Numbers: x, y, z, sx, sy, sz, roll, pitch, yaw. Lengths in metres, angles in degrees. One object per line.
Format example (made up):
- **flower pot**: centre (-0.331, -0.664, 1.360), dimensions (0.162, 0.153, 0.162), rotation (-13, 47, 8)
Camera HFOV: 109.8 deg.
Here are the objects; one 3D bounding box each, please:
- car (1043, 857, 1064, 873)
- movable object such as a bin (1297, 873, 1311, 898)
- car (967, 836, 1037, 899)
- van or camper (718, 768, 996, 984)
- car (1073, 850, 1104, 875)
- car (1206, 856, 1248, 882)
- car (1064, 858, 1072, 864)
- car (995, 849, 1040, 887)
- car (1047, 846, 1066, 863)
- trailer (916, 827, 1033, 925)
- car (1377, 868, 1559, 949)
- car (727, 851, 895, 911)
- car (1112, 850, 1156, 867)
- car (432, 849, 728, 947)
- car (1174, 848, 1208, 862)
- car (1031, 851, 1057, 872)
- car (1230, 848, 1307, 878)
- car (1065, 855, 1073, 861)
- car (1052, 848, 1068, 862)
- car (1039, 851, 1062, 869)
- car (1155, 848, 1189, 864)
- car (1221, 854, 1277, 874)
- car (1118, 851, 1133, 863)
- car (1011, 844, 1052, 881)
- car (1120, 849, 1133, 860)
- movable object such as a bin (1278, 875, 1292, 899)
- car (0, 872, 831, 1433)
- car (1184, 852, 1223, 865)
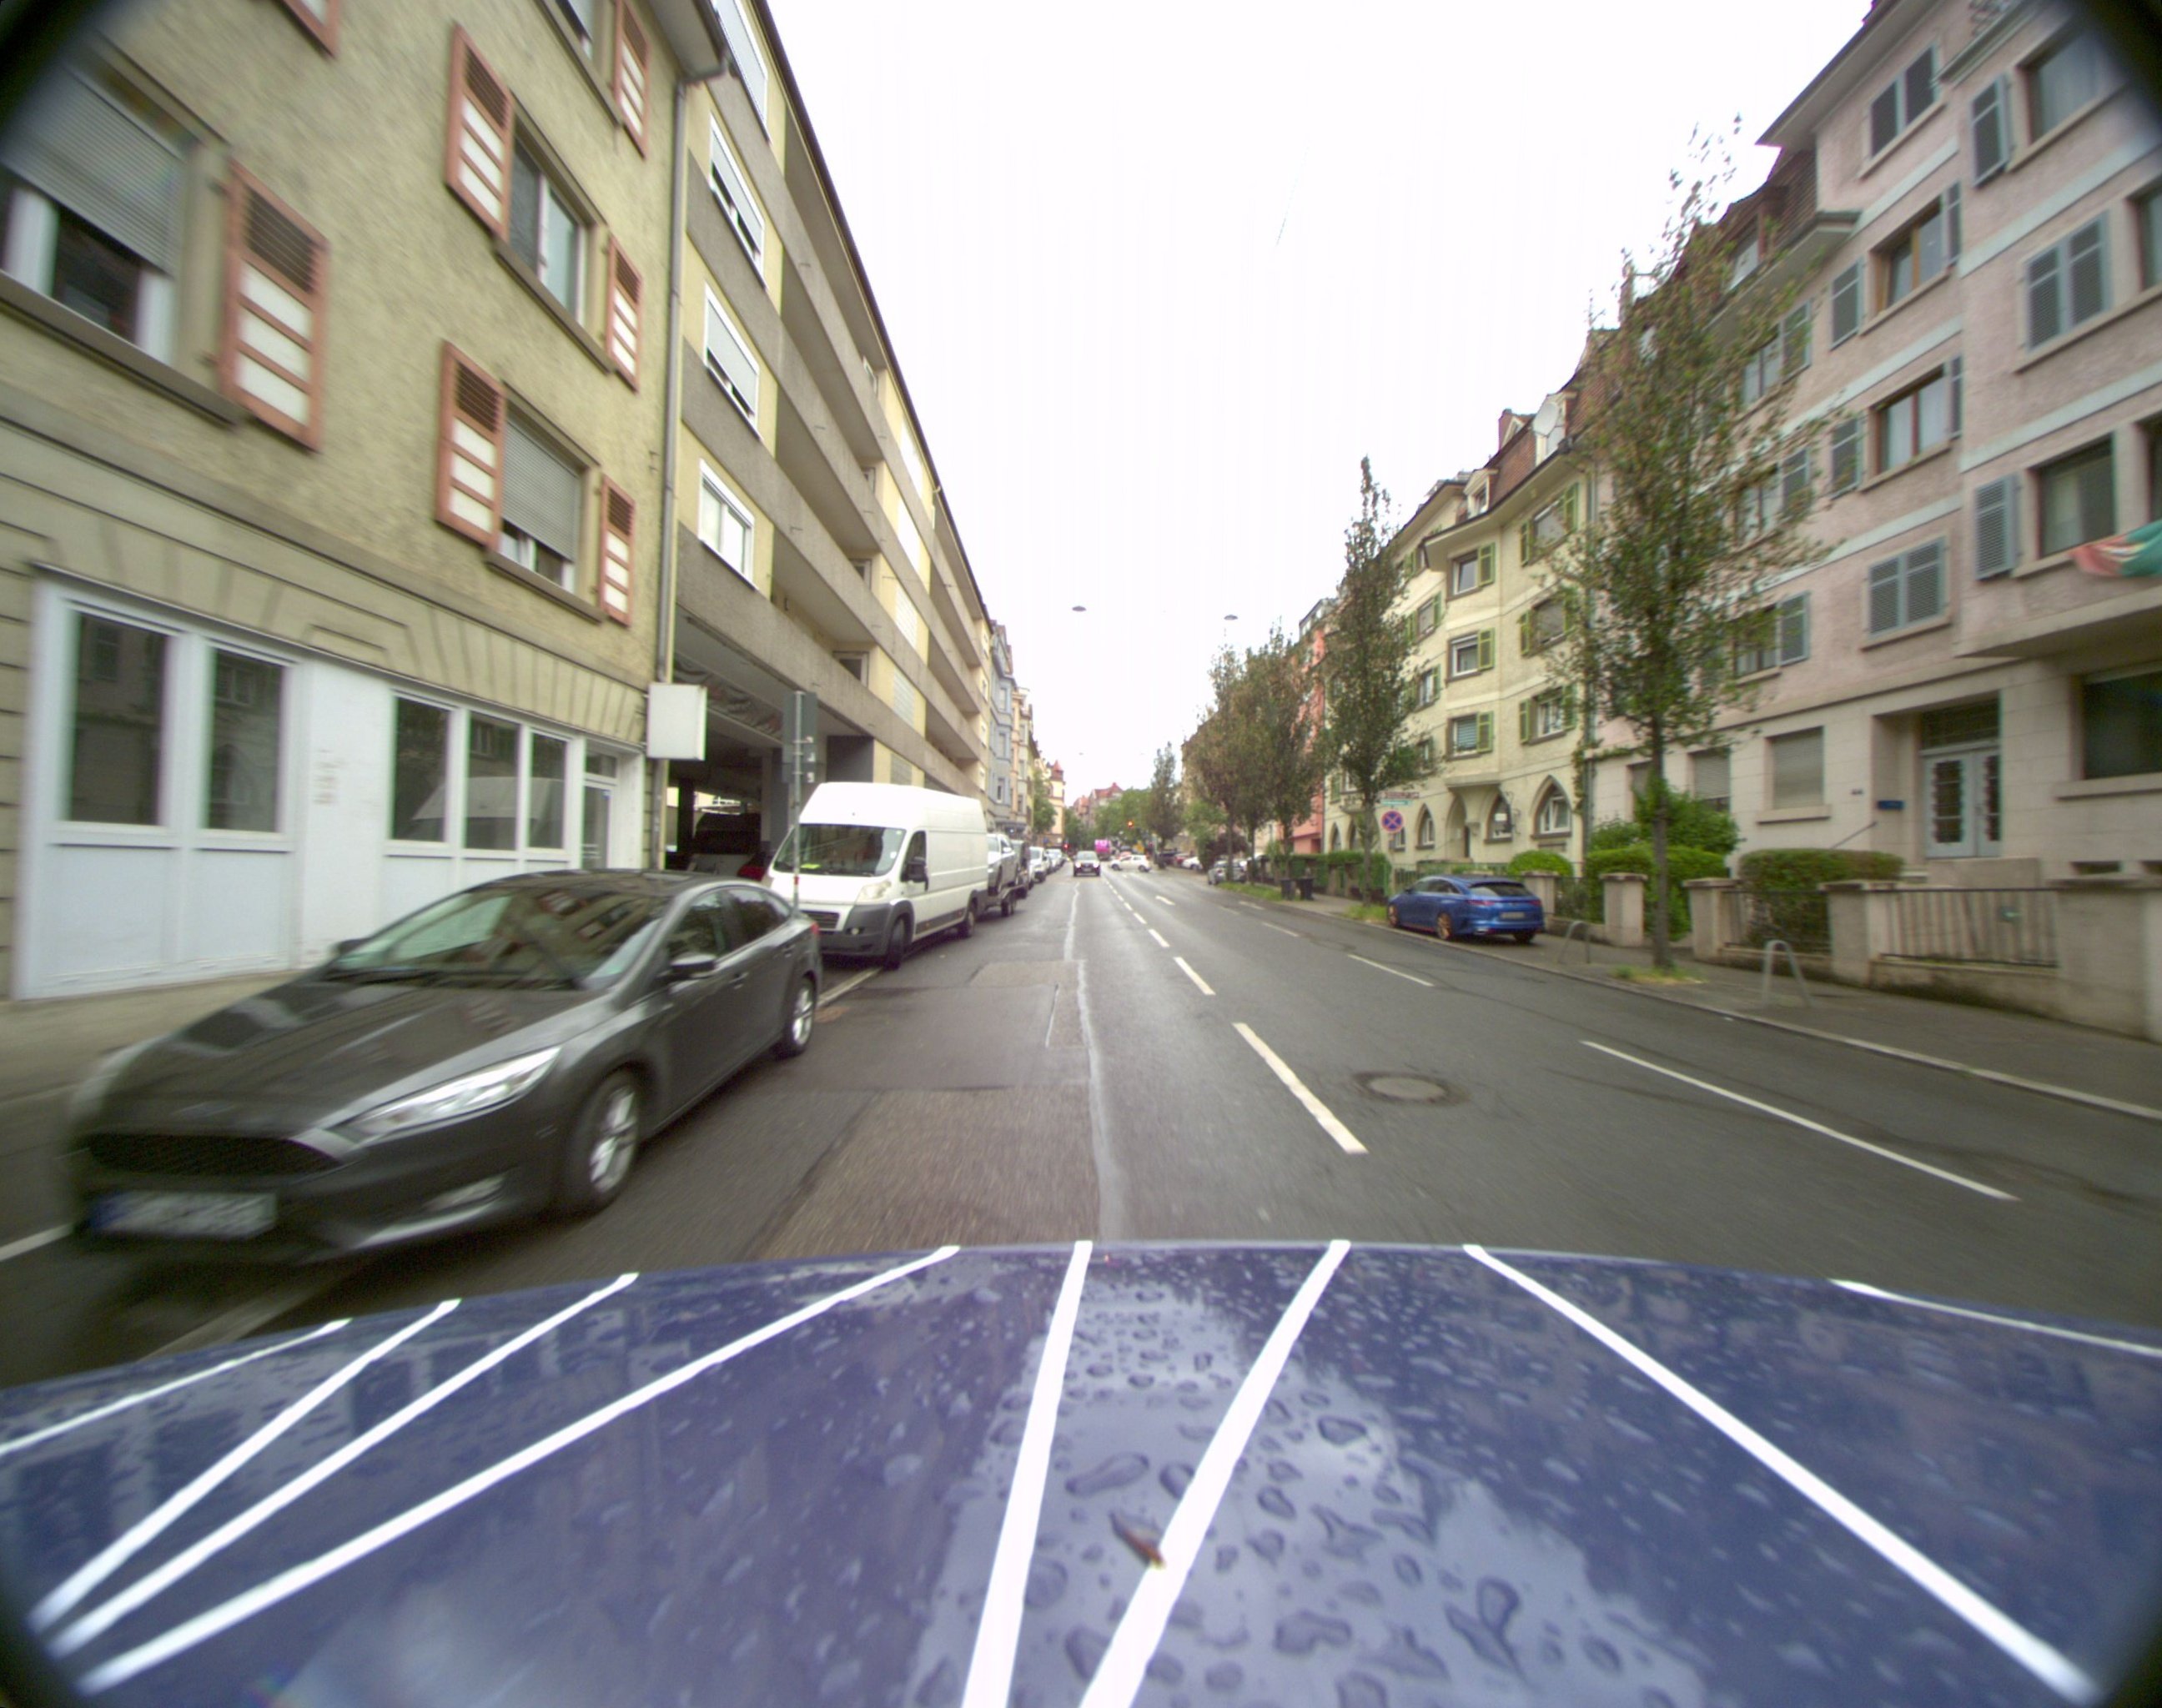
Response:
- **car**: centre (-2.556, 1.007, 71.415), dimensions (1.709, 1.389, 3.932), rotation (-2, 1, 0)
- **movable object such as a bin**: centre (8.715, 1.225, 29.674), dimensions (0.365, 0.906, 0.572), rotation (-1, 2, -1)
- **car**: centre (-2.935, 0.438, 29.438), dimensions (2.159, 2.136, 5.509), rotation (2, 1, -1)
- **van or camper**: centre (-3.219, 0.265, 12.822), dimensions (2.189, 2.684, 6.422), rotation (1, 0, 6)
- **car**: centre (0.481, 0.525, 52.732), dimensions (1.890, 1.543, 3.998), rotation (-2, 1, -2)
- **car**: centre (8.742, 0.861, 45.721), dimensions (1.685, 1.409, 4.137), rotation (2, 1, 0)
- **car**: centre (-2.829, 1.563, 169.131), dimensions (1.553, 1.386, 3.745), rotation (2, 1, 0)
- **car**: centre (-2.933, 0.629, 36.010), dimensions (1.751, 1.630, 4.272), rotation (2, 1, -1)
- **car**: centre (-2.624, 0.019, 82.866), dimensions (1.826, 1.808, 4.519), rotation (2, 1, 0)
- **trailer**: centre (-2.594, 0.532, 19.876), dimensions (1.998, 2.139, 5.073), rotation (3, 0, 3)
- **car**: centre (8.385, 1.098, 17.001), dimensions (1.683, 1.378, 4.601), rotation (1, 1, 0)
- **car**: centre (-7.323, 0.712, 20.860), dimensions (3.996, 1.383, 1.558), rotation (3, 1, 1)
- **car**: centre (4.847, 0.376, 69.103), dimensions (3.644, 1.464, 1.673), rotation (0, 2, 23)
- **car**: centre (-8.283, 0.715, 12.894), dimensions (3.662, 1.383, 1.898), rotation (3, -1, -5)
- **car**: centre (13.355, 0.083, 92.355), dimensions (3.929, 1.613, 1.592), rotation (1, 1, 1)
- **car**: centre (-2.840, 0.562, 58.563), dimensions (1.731, 1.434, 4.358), rotation (2, 1, 0)
- **car**: centre (12.615, 0.593, 51.278), dimensions (4.731, 1.894, 1.918), rotation (0, 2, -2)
- **car**: centre (-2.698, 0.859, 170.060), dimensions (1.553, 1.386, 3.745), rotation (2, 1, 0)
- **car**: centre (-2.397, 0.107, 88.032), dimensions (1.627, 1.498, 3.745), rotation (2, 1, 0)
- **car**: centre (-2.564, 0.468, 64.485), dimensions (1.709, 1.434, 3.932), rotation (2, 1, 0)
- **car**: centre (11.358, 0.209, 95.297), dimensions (3.930, 1.836, 1.866), rotation (1, 1, -2)
- **car**: centre (13.176, 0.762, 59.660), dimensions (3.931, 1.389, 1.724), rotation (1, 1, -6)
- **car**: centre (6.031, 0.452, 103.611), dimensions (1.772, 1.540, 3.652), rotation (0, 1, 0)
- **car**: centre (-2.783, 0.434, 44.043), dimensions (1.994, 1.944, 4.822), rotation (2, 1, 0)
- **car**: centre (6.032, 0.038, 100.341), dimensions (1.669, 1.448, 3.653), rotation (0, 1, 3)
- **movable object such as a bin**: centre (7.937, 1.291, 29.547), dimensions (0.365, 0.884, 0.572), rotation (-1, 1, -1)
- **car**: centre (-2.920, 0.941, 4.333), dimensions (1.782, 1.471, 4.187), rotation (1, 1, -3)
- **car**: centre (13.189, 0.484, 82.150), dimensions (3.929, 1.289, 1.646), rotation (1, 1, 1)
